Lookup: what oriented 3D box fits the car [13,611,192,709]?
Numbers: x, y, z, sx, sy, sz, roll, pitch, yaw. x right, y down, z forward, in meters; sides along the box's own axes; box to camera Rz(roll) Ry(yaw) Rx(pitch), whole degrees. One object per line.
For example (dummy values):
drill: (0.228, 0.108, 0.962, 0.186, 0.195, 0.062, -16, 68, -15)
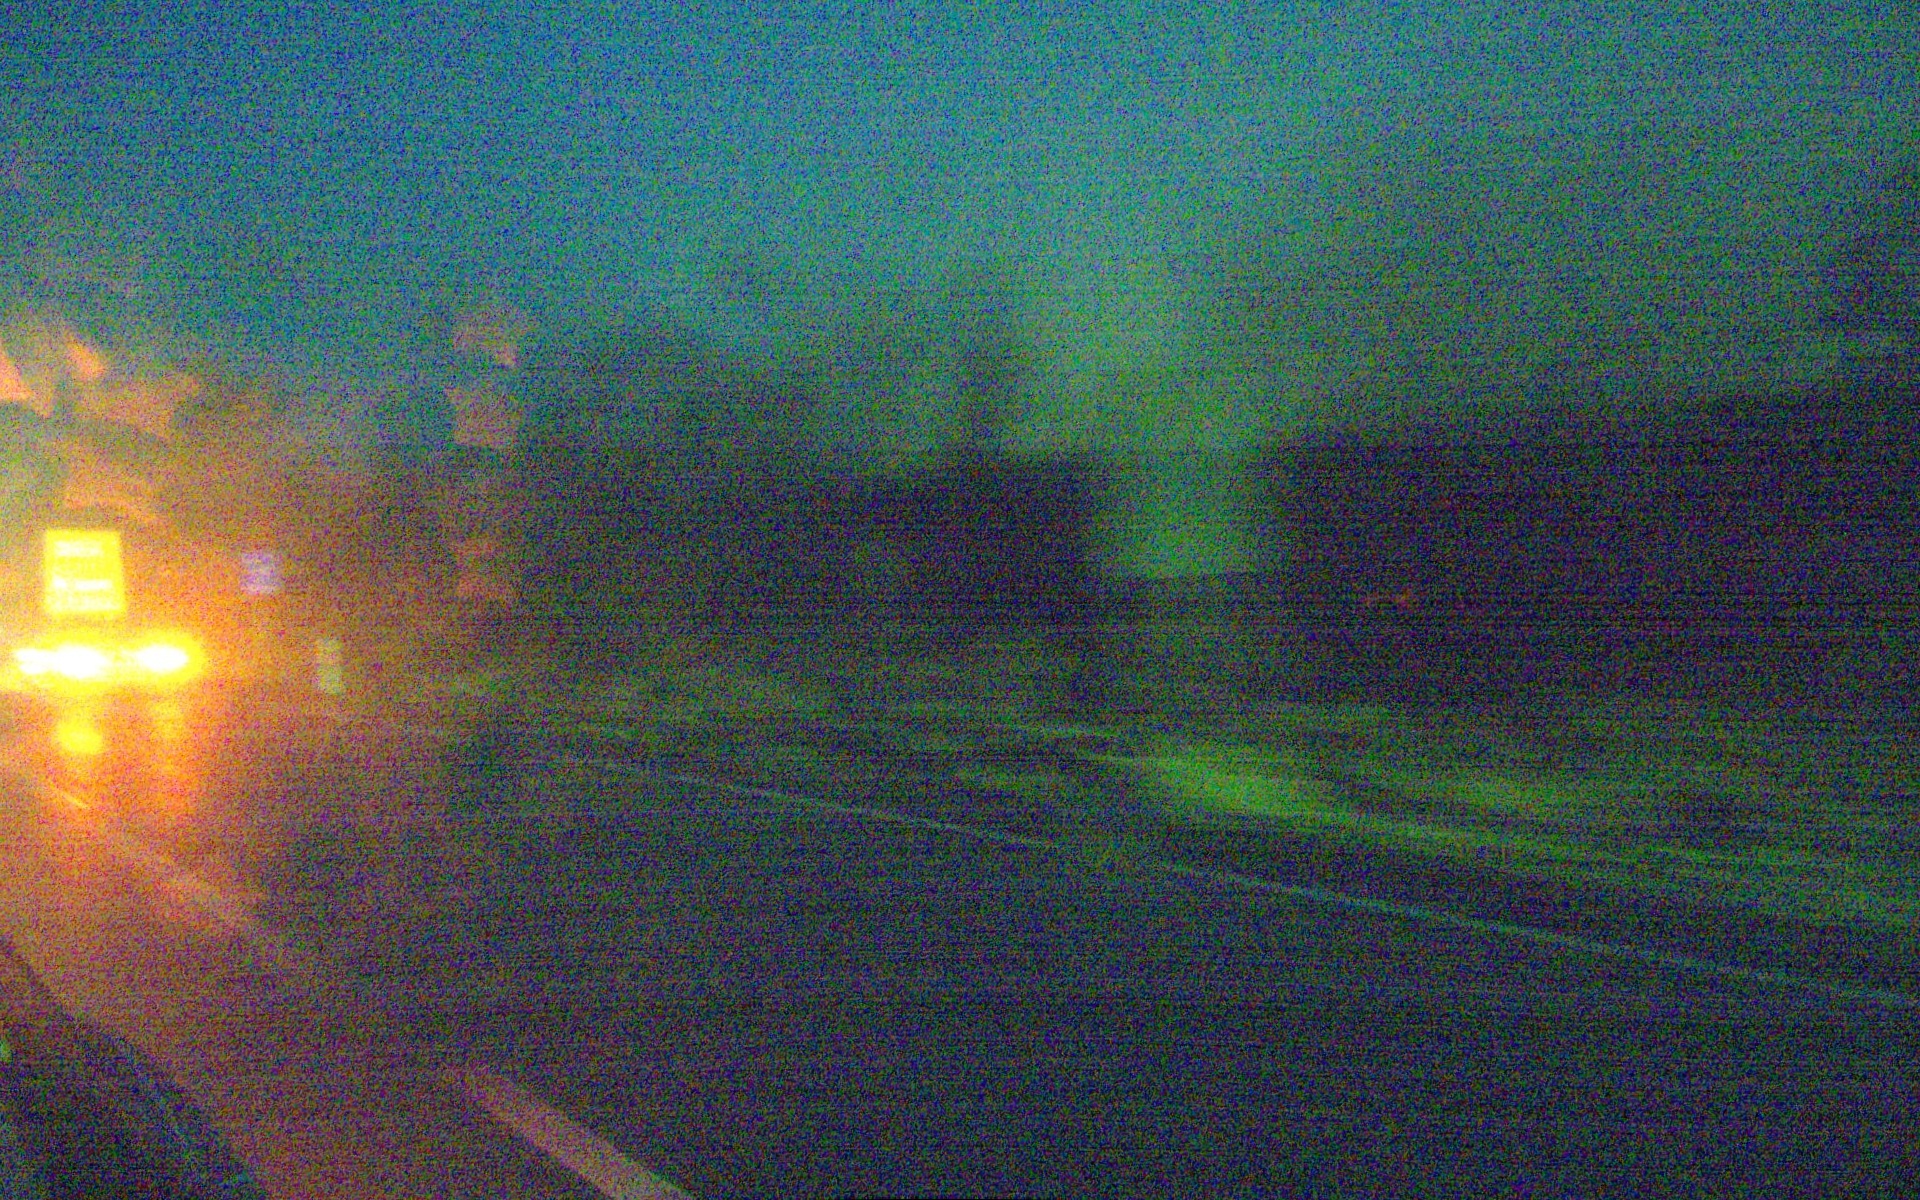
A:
car: (-16.085, 1.026, 18.921, 3.998, 1.560, 1.973, -1, 1, 41)
